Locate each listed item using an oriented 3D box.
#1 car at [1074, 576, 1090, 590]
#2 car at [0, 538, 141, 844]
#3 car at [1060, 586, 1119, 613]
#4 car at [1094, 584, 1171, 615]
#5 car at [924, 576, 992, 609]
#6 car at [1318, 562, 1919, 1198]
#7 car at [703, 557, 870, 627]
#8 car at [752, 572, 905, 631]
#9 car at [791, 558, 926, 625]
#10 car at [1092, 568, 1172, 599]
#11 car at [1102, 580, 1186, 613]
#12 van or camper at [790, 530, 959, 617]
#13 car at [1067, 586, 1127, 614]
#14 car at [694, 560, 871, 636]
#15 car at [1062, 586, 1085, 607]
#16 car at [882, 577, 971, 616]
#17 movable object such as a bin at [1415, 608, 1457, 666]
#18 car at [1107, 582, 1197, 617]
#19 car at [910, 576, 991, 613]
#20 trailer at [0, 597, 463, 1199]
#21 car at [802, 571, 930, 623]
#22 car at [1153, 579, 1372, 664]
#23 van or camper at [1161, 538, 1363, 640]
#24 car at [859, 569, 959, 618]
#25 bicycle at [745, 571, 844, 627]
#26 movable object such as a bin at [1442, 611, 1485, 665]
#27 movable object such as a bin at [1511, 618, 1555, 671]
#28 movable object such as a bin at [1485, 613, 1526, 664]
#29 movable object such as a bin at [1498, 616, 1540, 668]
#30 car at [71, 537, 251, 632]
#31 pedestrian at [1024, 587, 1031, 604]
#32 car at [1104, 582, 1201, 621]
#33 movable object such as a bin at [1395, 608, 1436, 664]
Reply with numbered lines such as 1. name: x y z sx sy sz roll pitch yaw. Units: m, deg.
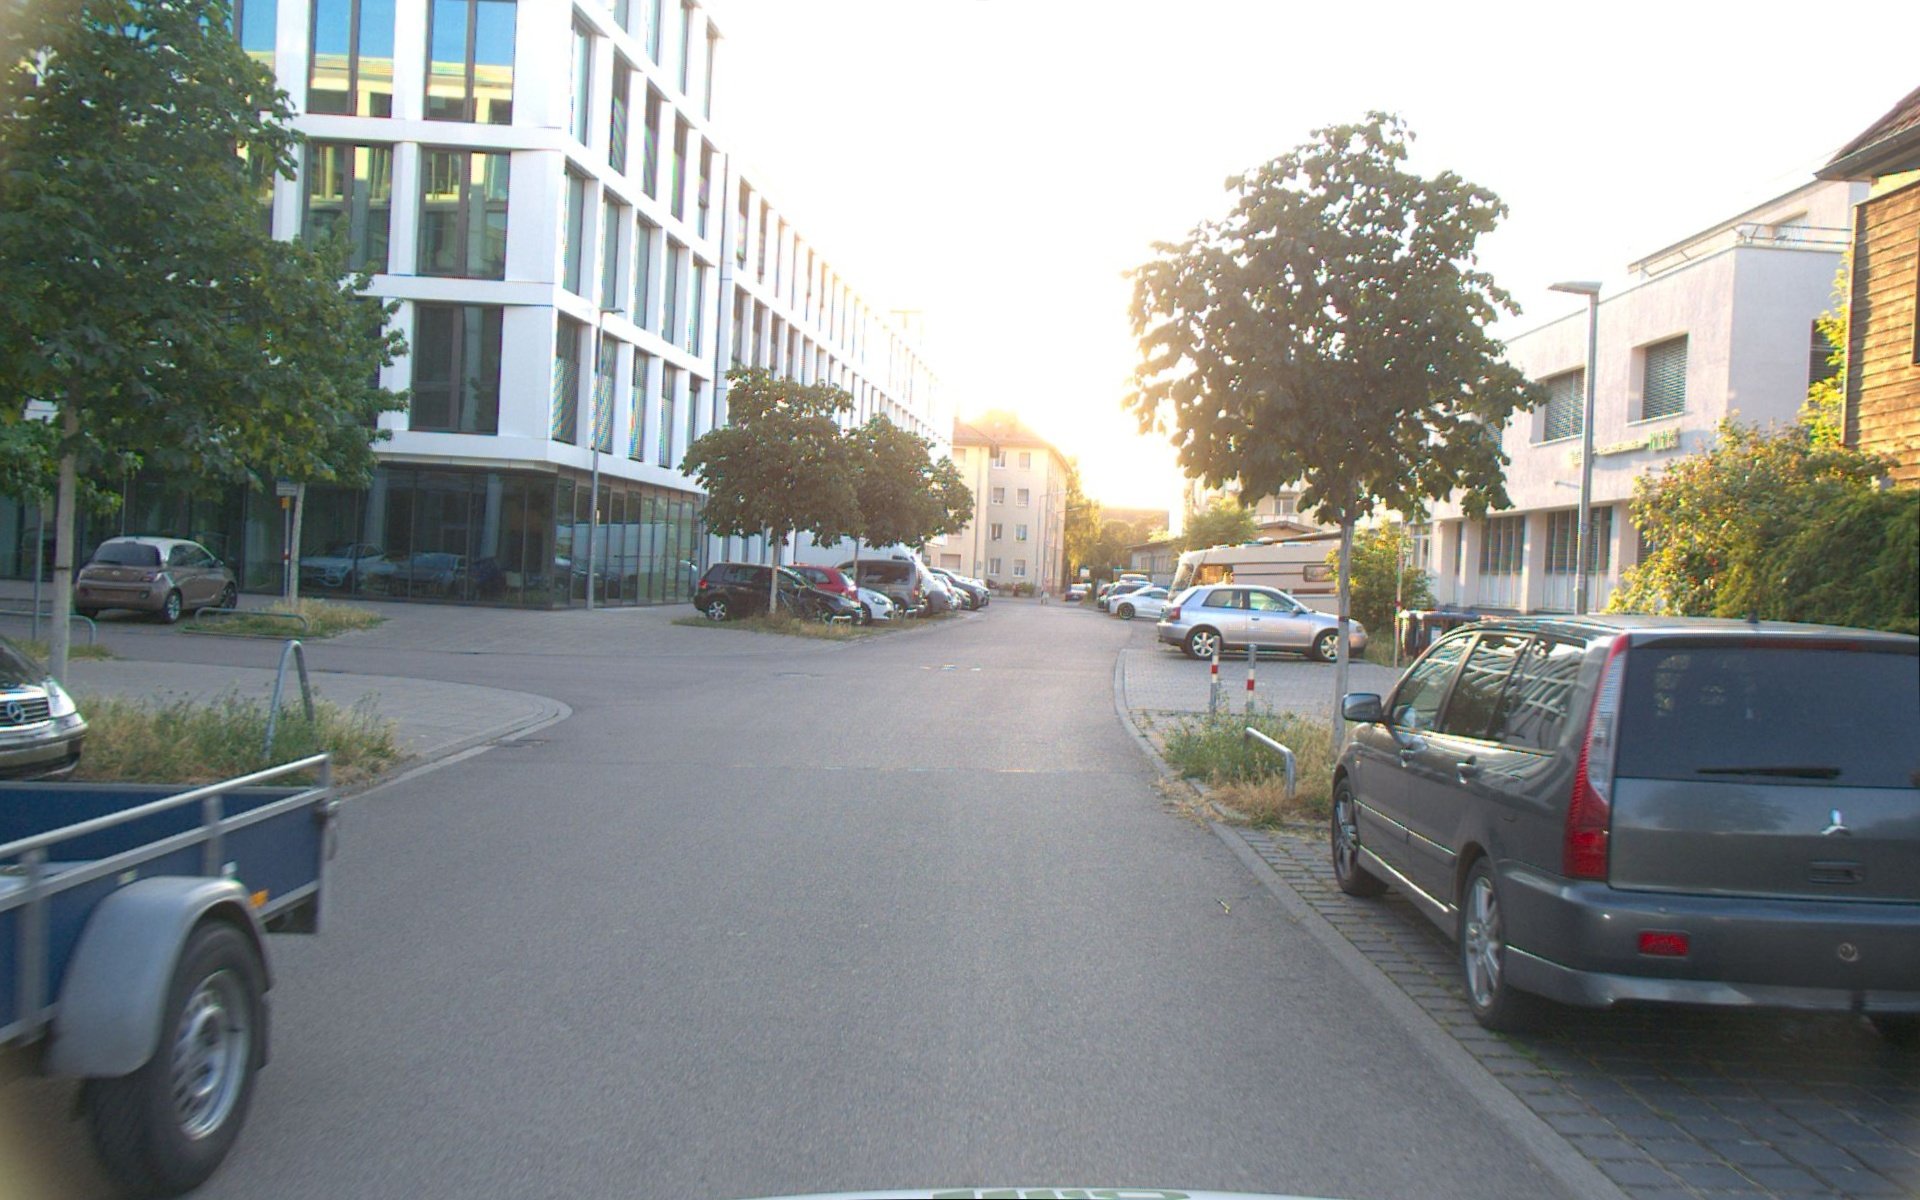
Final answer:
1. car: 13.503 -1.880 183.695 1.705 1.551 3.553 3 1 4
2. car: -6.839 0.355 9.286 3.560 1.604 1.662 5 1 4
3. car: 8.746 -0.056 112.009 3.825 1.672 1.710 1 2 0
4. car: 9.260 -0.027 89.075 3.966 1.504 1.768 1 2 0
5. car: -0.084 -0.342 76.499 2.951 1.446 1.459 1 2 6
6. car: 2.669 0.714 6.541 1.688 1.607 4.600 2 1 3
7. car: -4.517 -0.206 43.384 3.965 1.504 1.769 4 1 6
8. car: -3.614 0.015 45.872 3.964 1.504 1.769 1 2 6
9. car: -3.076 -0.283 50.817 3.966 1.941 1.737 1 2 2
10. car: 9.639 -0.940 92.904 4.252 1.672 1.816 1 2 0
11. car: 9.122 -0.181 82.048 3.966 1.504 1.768 1 2 0
12. van or camper: -2.860 -0.906 55.790 5.338 2.526 1.777 4 2 6
13. car: 8.822 -0.007 106.402 3.708 1.672 1.697 1 2 0
14. car: -4.305 -0.075 40.481 3.966 1.504 1.769 4 2 3
15. car: 9.629 -0.324 140.230 1.909 1.612 3.642 3 1 4
16. car: -1.373 -0.162 68.101 3.484 1.504 1.459 1 2 6
17. movable object such as a bin: 8.908 0.685 30.968 0.566 1.028 0.689 2 1 0
18. car: 8.883 -0.039 76.801 3.966 1.504 1.768 1 2 0
19. car: -0.404 -0.257 73.975 3.484 1.504 1.459 1 2 6
20. trailer: -2.553 0.728 3.873 1.671 1.372 3.487 3 1 0
21. car: -2.994 -0.111 53.267 3.966 1.550 1.737 1 2 2
22. car: 5.905 0.401 32.619 3.966 1.504 1.768 1 2 0
23. van or camper: 8.824 -0.366 48.752 5.494 2.838 2.430 1 2 1
24. car: -1.847 -0.237 60.567 3.484 1.680 1.459 1 2 6
25. bicycle: -3.847 -0.022 38.455 2.133 1.194 0.811 3 1 5
26. movable object such as a bin: 9.548 0.715 31.369 0.566 0.975 0.689 2 1 0
27. movable object such as a bin: 11.077 0.858 31.996 0.566 0.975 0.689 2 1 0
28. movable object such as a bin: 11.092 0.782 33.641 0.566 0.975 0.689 2 1 0
29. movable object such as a bin: 11.081 0.834 32.809 0.566 0.975 0.689 2 1 0
30. car: -14.825 -0.341 30.883 1.687 1.511 3.551 2 3 -2
31. pedestrian: 5.642 -0.380 138.059 0.490 1.403 0.455 2 1 3
32. car: 8.008 0.058 69.022 3.964 1.504 1.769 1 2 5
33. movable object such as a bin: 8.717 0.683 31.670 0.566 1.028 0.689 2 0 0
